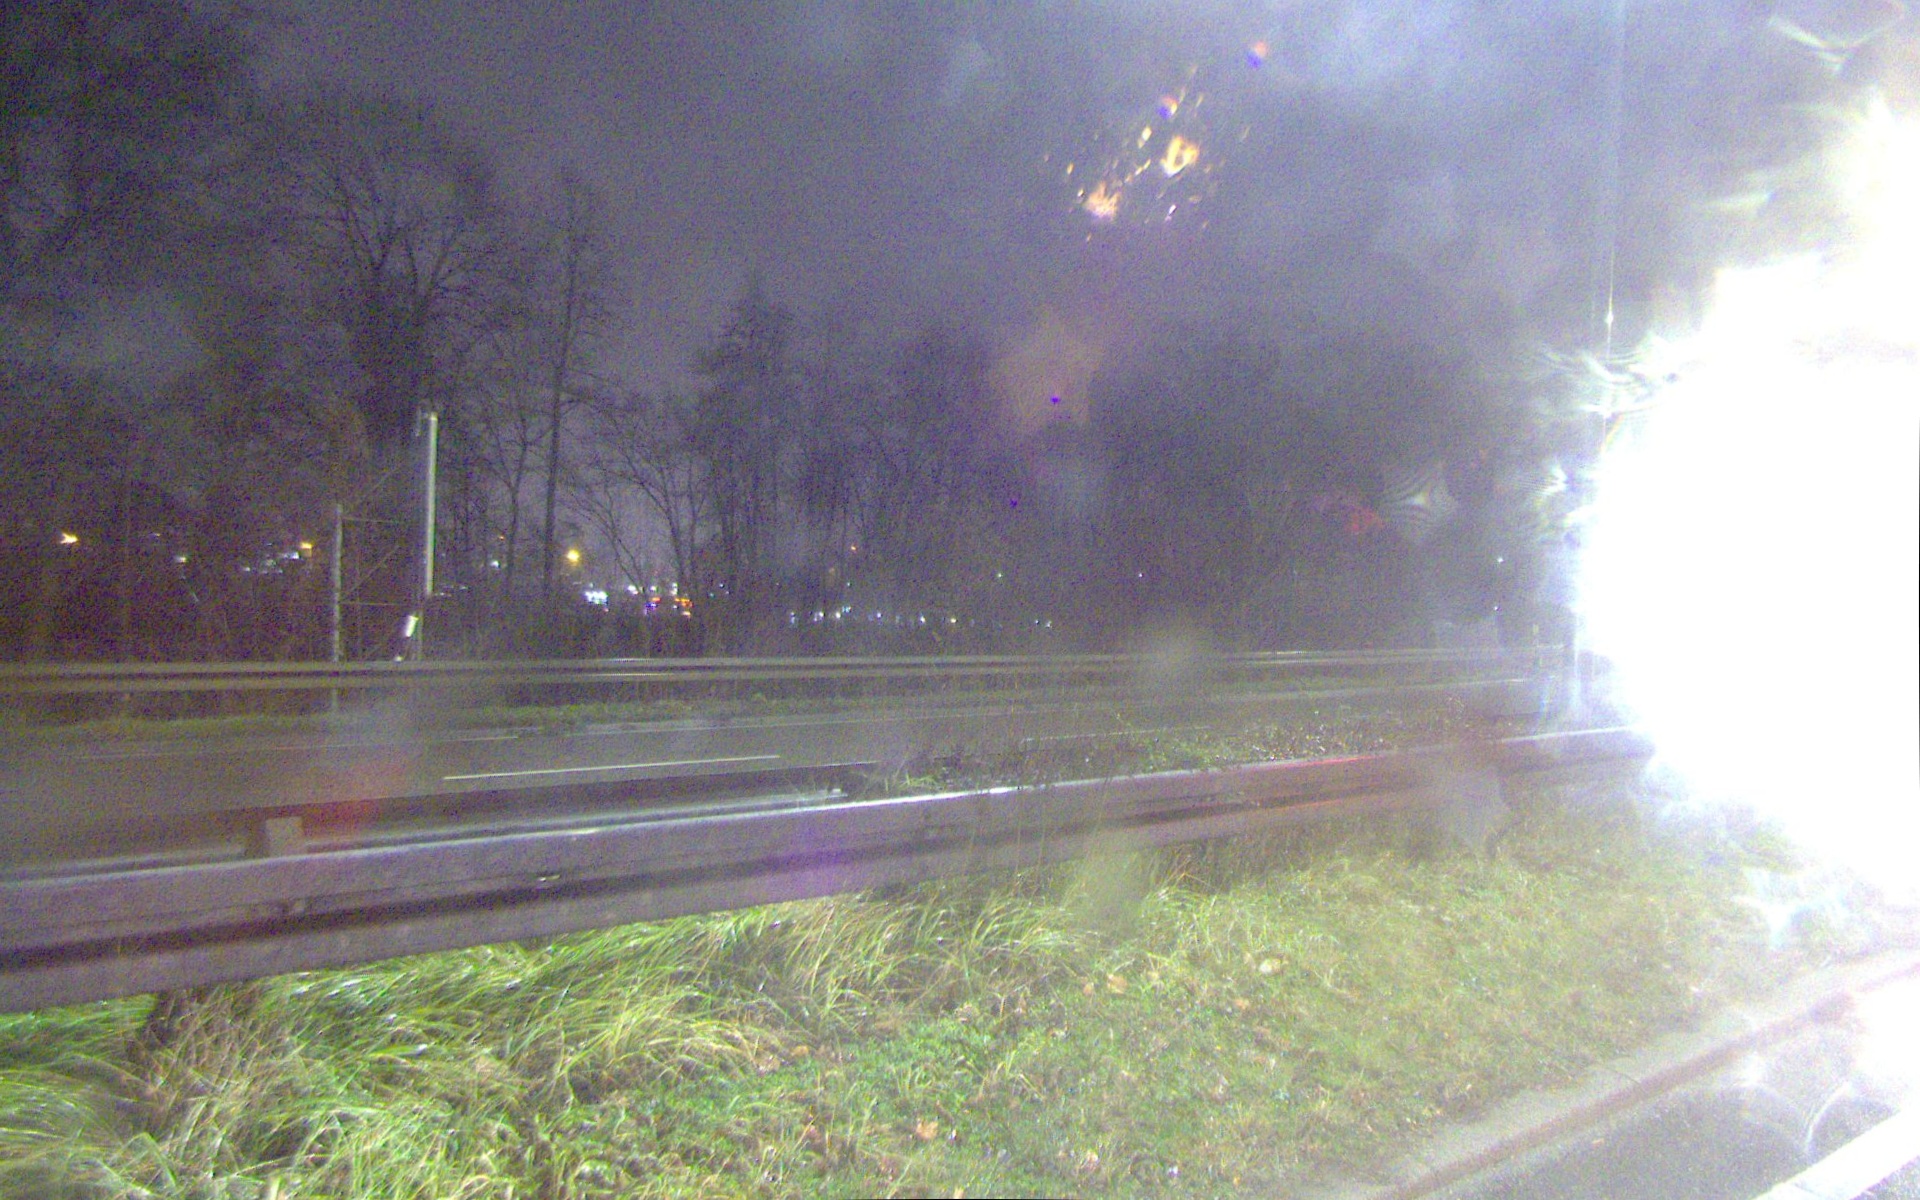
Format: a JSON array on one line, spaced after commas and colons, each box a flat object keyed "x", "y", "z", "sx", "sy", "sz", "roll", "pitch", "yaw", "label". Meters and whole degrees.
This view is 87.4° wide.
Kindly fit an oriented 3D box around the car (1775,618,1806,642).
[{"x": 62.349, "y": 2.219, "z": 75.412, "sx": 1.744, "sy": 1.653, "sz": 4.231, "roll": 1, "pitch": 0, "yaw": 39, "label": "car"}]

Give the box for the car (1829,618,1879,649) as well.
[{"x": 44.678, "y": 1.665, "z": 50.157, "sx": 1.694, "sy": 1.442, "sz": 4.639, "roll": 0, "pitch": -2, "yaw": 44, "label": "car"}]

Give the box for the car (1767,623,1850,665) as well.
[{"x": 33.829, "y": 1.725, "z": 39.989, "sx": 4.805, "sy": 1.528, "sz": 1.975, "roll": 2, "pitch": -1, "yaw": -43, "label": "car"}]
